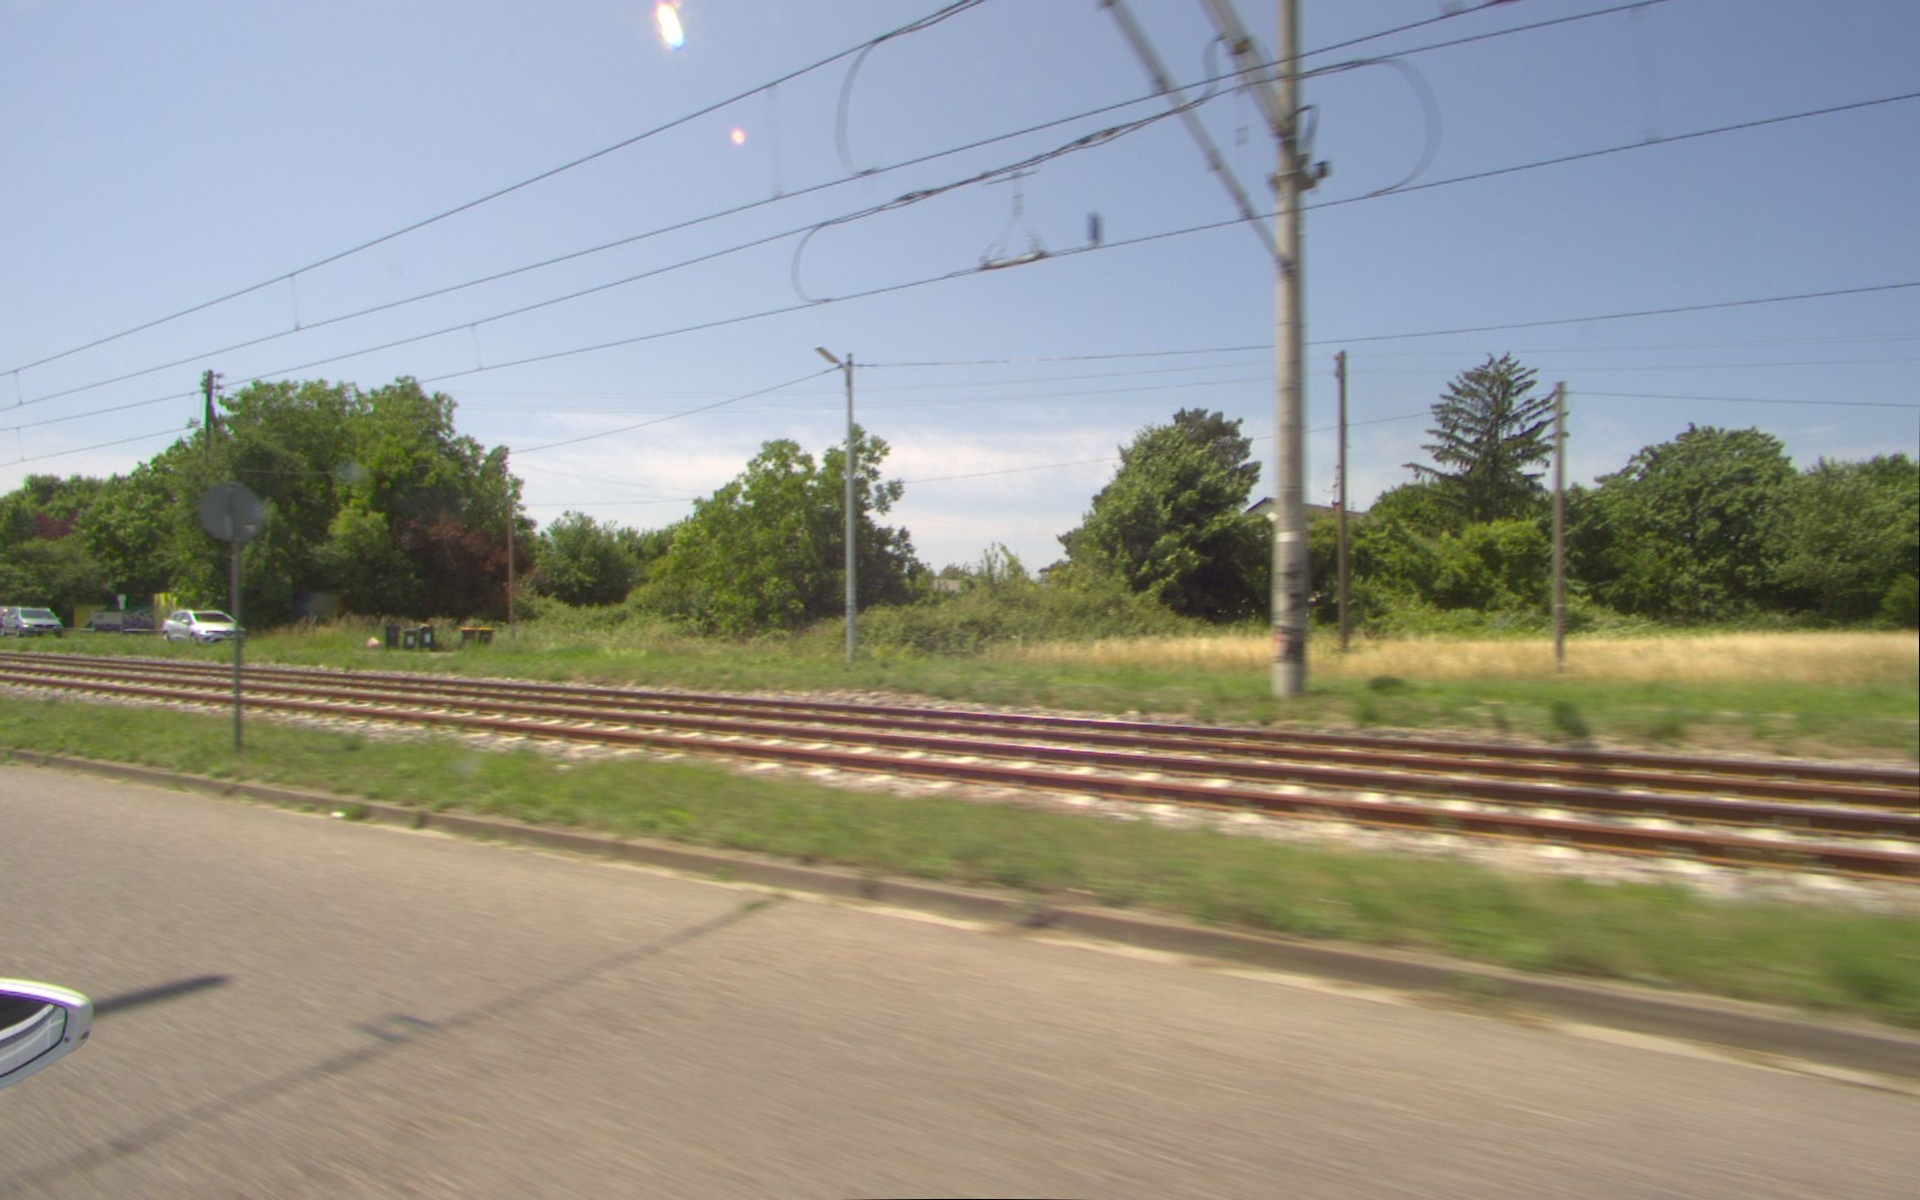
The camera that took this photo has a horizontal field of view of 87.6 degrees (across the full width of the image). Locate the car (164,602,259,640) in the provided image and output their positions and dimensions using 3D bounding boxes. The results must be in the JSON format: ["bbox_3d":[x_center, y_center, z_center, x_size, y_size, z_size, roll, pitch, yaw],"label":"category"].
[{"bbox_3d":[-29.750,0.881,39.752,4.488,1.432,1.676,-1,-2,34],"label":"car"}]

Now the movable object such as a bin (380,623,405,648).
[{"bbox_3d":[-22.093,1.374,38.982,0.793,0.946,0.775,1,-2,-36],"label":"movable object such as a bin"}]

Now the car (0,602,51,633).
[{"bbox_3d":[-53.848,1.021,57.250,4.753,1.677,1.822,-2,-2,36],"label":"car"}]

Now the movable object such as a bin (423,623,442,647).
[{"bbox_3d":[-21.197,1.418,40.257,0.579,0.946,0.822,1,-2,-35],"label":"movable object such as a bin"}]

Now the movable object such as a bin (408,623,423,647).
[{"bbox_3d":[-21.729,1.408,39.954,0.443,0.946,0.798,1,-2,-35],"label":"movable object such as a bin"}]

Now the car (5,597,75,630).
[{"bbox_3d":[-48.955,0.760,53.276,4.646,1.645,1.673,-1,-2,33],"label":"car"}]
